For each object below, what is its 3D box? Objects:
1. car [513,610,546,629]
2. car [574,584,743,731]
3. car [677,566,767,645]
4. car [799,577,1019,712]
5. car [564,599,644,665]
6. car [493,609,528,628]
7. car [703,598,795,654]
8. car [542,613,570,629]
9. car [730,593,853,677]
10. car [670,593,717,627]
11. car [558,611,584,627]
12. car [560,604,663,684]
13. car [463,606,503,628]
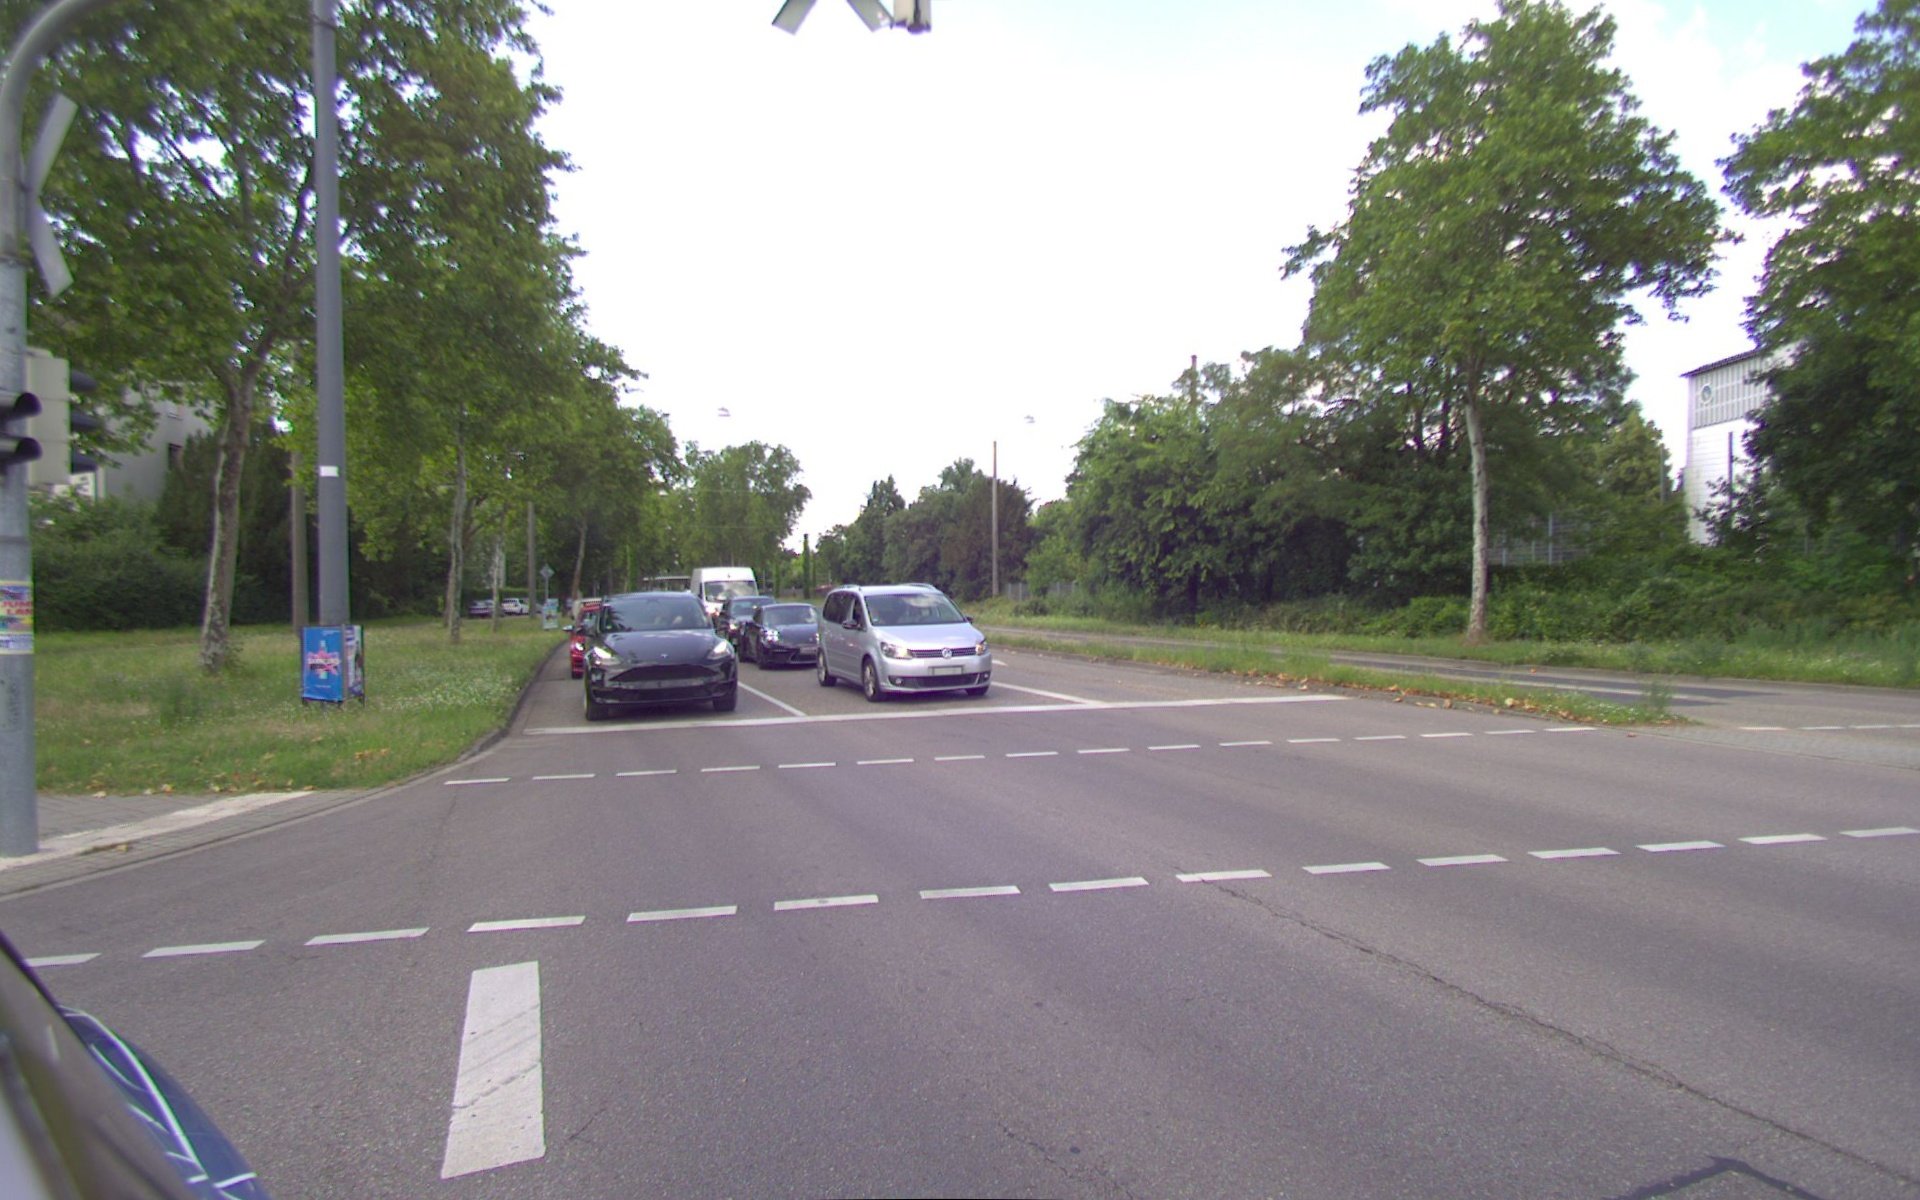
[{"bbox_3d":[-39.101,1.770,91.903,1.749,1.608,3.661,-1,-2,-6],"label":"car"},{"bbox_3d":[-4.419,0.666,14.407,1.898,1.664,4.595,-3,1,-20],"label":"car"},{"bbox_3d":[-8.714,0.162,36.610,2.189,2.549,5.953,-3,1,-22],"label":"car"},{"bbox_3d":[-0.960,0.558,15.419,1.897,1.664,4.517,-3,1,-22],"label":"car"},{"bbox_3d":[-9.808,0.797,27.679,1.771,1.581,4.517,-3,1,-22],"label":"car"},{"bbox_3d":[-38.850,1.624,87.492,1.749,1.608,3.661,-1,-2,-6],"label":"car"},{"bbox_3d":[-6.027,0.677,28.545,1.734,1.385,4.358,-3,1,-22],"label":"car"},{"bbox_3d":[-41.021,2.128,102.780,1.749,1.608,3.661,-1,-2,-6],"label":"car"},{"bbox_3d":[-3.676,0.671,21.548,1.773,1.519,4.013,-3,1,-20],"label":"car"},{"bbox_3d":[-13.645,0.474,51.701,1.734,1.659,4.358,-1,0,-22],"label":"car"},{"bbox_3d":[-42.434,2.111,110.569,1.749,1.608,3.661,-1,-2,-6],"label":"car"},{"bbox_3d":[-7.484,0.842,21.502,1.771,1.401,4.517,-3,1,-22],"label":"car"},{"bbox_3d":[-37.015,1.339,78.603,1.749,1.608,3.661,-1,-2,-6],"label":"car"}]
